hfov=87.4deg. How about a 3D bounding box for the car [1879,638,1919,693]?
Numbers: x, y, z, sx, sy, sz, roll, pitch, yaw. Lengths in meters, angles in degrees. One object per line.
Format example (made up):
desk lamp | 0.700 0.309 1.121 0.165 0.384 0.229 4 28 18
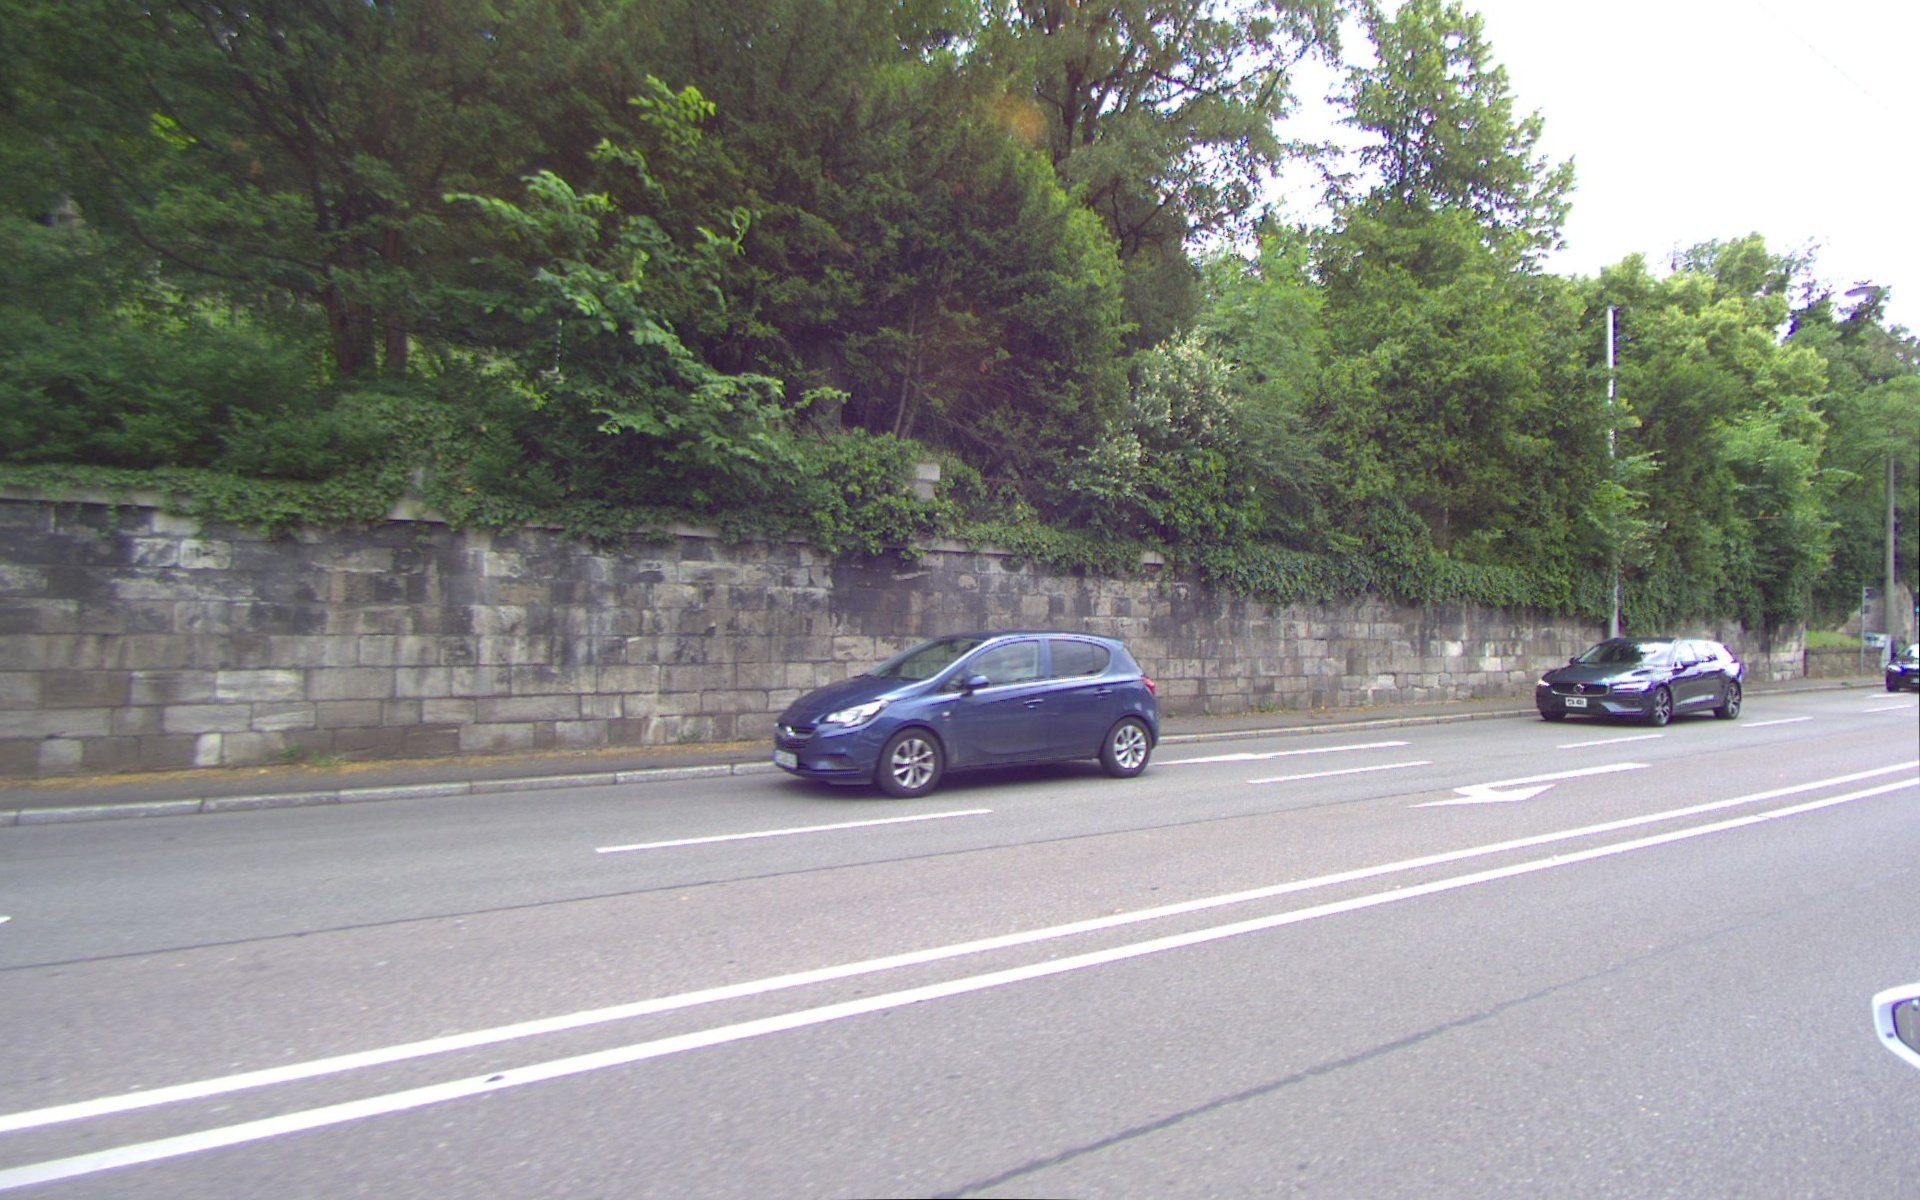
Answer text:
car | 26.749 1.780 27.371 4.209 1.420 1.553 2 -3 -34

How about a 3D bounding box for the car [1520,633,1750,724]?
car | 11.944 1.330 17.705 4.409 1.427 1.832 2 -3 -34

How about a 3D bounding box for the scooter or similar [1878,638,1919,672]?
scooter or similar | 37.387 2.179 40.019 1.076 1.254 0.434 4 2 7

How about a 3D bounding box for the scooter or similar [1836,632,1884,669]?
scooter or similar | 35.943 2.019 40.106 1.324 1.253 0.434 8 3 0

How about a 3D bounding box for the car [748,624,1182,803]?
car | 0.107 1.004 9.976 3.954 1.455 1.833 2 -3 -31
